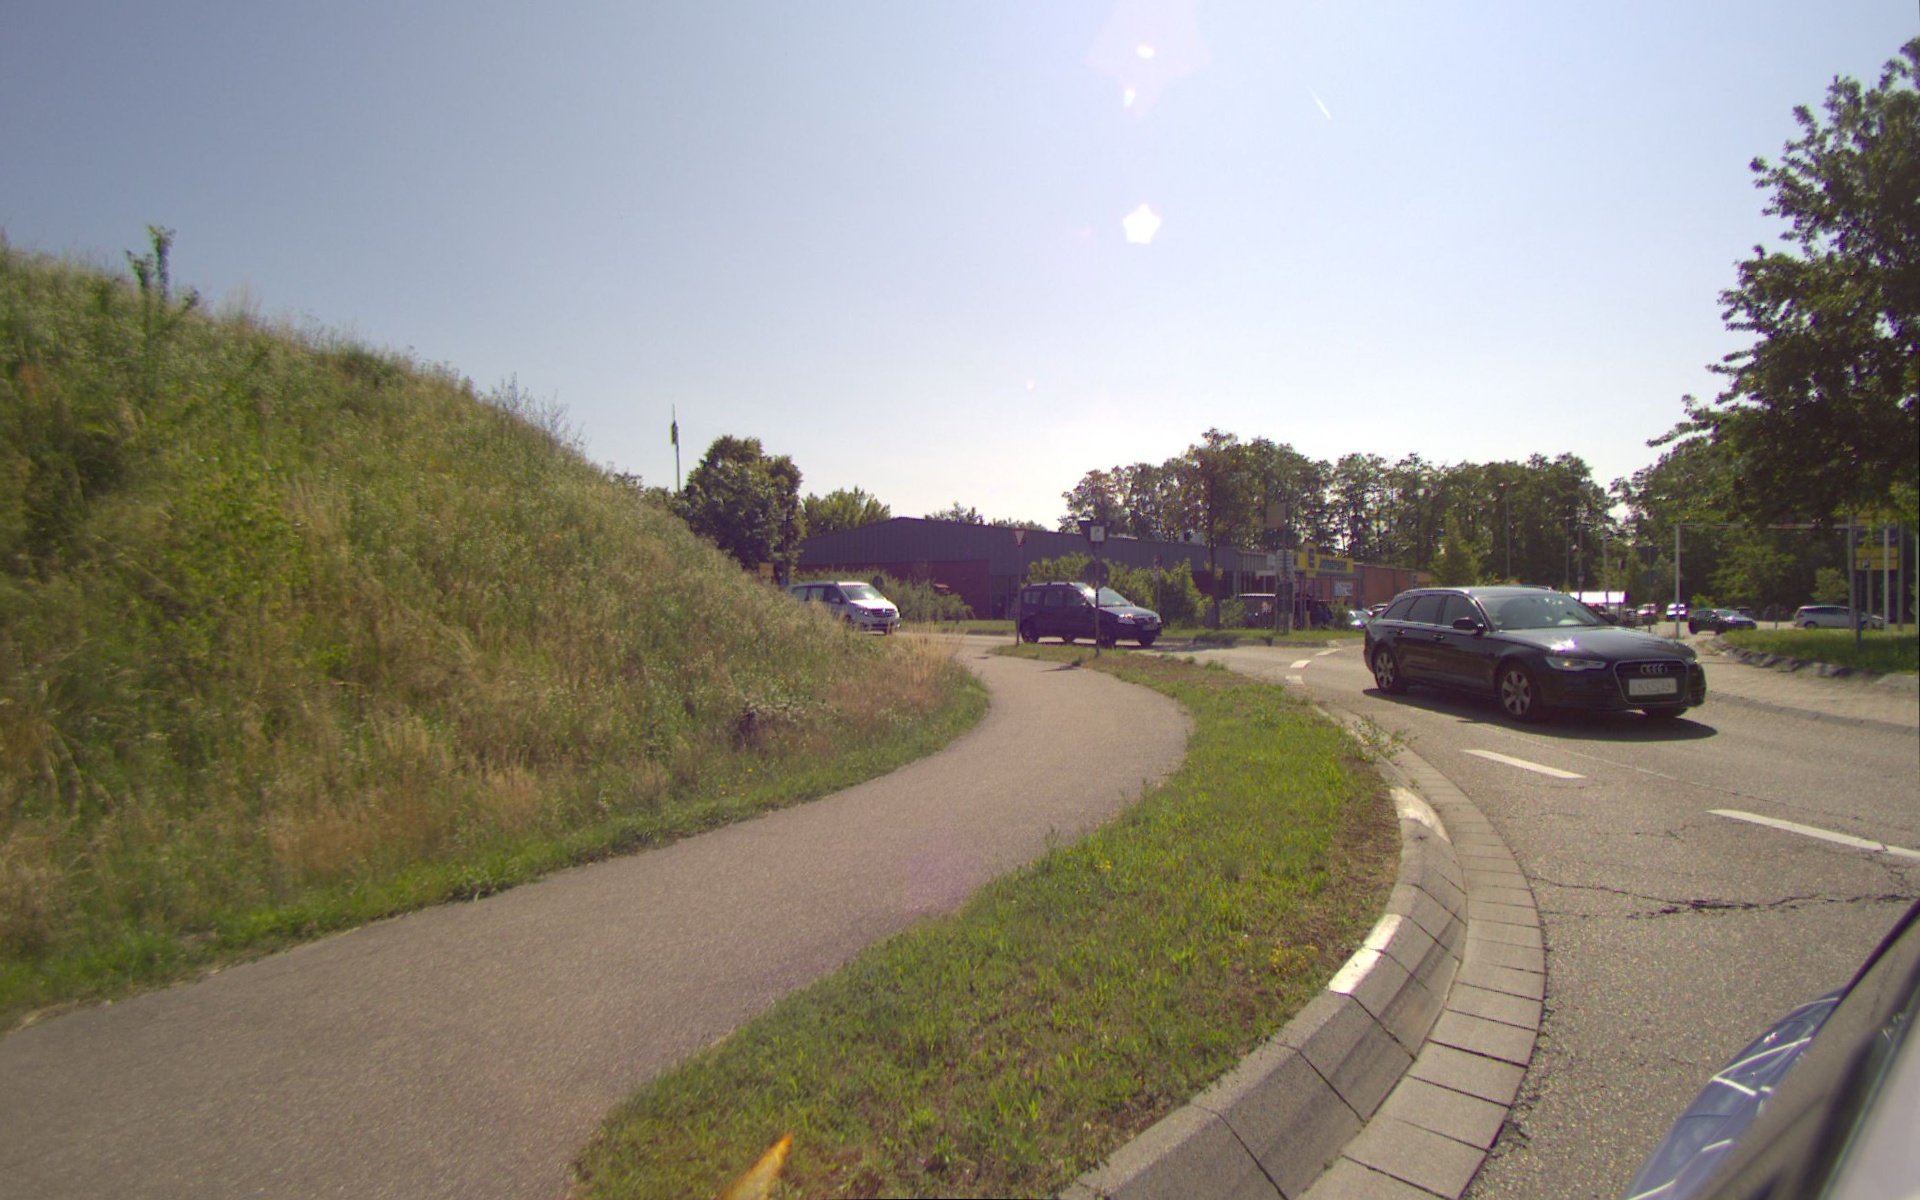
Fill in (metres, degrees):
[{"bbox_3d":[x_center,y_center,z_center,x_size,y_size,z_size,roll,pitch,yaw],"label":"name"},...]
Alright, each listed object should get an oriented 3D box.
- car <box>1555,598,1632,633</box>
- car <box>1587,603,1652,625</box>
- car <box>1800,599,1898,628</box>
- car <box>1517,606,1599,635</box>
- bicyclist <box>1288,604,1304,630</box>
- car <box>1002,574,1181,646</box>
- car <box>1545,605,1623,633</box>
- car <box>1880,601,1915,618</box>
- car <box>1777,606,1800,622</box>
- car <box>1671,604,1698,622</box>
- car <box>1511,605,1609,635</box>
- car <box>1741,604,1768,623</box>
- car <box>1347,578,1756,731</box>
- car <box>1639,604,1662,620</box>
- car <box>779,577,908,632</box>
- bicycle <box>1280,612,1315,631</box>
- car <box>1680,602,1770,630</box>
[{"bbox_3d":[37.010,0.918,59.179,1.848,1.954,3.482,2,-2,-44],"label":"car"},{"bbox_3d":[51.676,1.121,79.291,3.987,1.683,1.968,-1,-2,44],"label":"car"},{"bbox_3d":[57.142,0.874,65.152,4.535,1.724,1.972,-3,-3,39],"label":"car"},{"bbox_3d":[31.877,1.075,53.999,1.688,1.476,3.483,2,-2,-44],"label":"car"},{"bbox_3d":[20.198,1.039,60.811,0.595,1.534,0.678,1,-1,-34],"label":"bicyclist"},{"bbox_3d":[3.355,0.242,26.610,1.784,1.661,4.649,-4,2,-39],"label":"car"},{"bbox_3d":[35.411,1.088,57.476,1.688,1.517,3.482,2,-2,-44],"label":"car"},{"bbox_3d":[87.133,0.898,94.101,2.061,1.505,3.944,0,0,39],"label":"car"},{"bbox_3d":[80.409,1.344,98.268,1.654,1.505,4.312,0,0,38],"label":"car"},{"bbox_3d":[74.088,1.315,103.457,2.061,1.733,3.944,0,0,39],"label":"car"},{"bbox_3d":[33.172,1.087,56.042,4.411,1.591,1.689,-1,-2,43],"label":"car"},{"bbox_3d":[78.873,1.306,100.445,2.061,1.733,3.944,0,0,39],"label":"car"},{"bbox_3d":[6.868,0.500,12.578,1.885,1.452,4.917,-2,1,-4],"label":"car"},{"bbox_3d":[71.924,1.247,105.418,1.786,1.616,4.203,0,0,37],"label":"car"},{"bbox_3d":[-4.231,0.170,36.139,1.965,1.839,5.191,1,-1,-42],"label":"car"},{"bbox_3d":[20.265,1.284,60.765,0.543,1.055,2.076,1,-1,-34],"label":"bicycle"},{"bbox_3d":[45.549,0.968,60.361,1.627,1.609,4.007,1,-1,-22],"label":"car"}]
